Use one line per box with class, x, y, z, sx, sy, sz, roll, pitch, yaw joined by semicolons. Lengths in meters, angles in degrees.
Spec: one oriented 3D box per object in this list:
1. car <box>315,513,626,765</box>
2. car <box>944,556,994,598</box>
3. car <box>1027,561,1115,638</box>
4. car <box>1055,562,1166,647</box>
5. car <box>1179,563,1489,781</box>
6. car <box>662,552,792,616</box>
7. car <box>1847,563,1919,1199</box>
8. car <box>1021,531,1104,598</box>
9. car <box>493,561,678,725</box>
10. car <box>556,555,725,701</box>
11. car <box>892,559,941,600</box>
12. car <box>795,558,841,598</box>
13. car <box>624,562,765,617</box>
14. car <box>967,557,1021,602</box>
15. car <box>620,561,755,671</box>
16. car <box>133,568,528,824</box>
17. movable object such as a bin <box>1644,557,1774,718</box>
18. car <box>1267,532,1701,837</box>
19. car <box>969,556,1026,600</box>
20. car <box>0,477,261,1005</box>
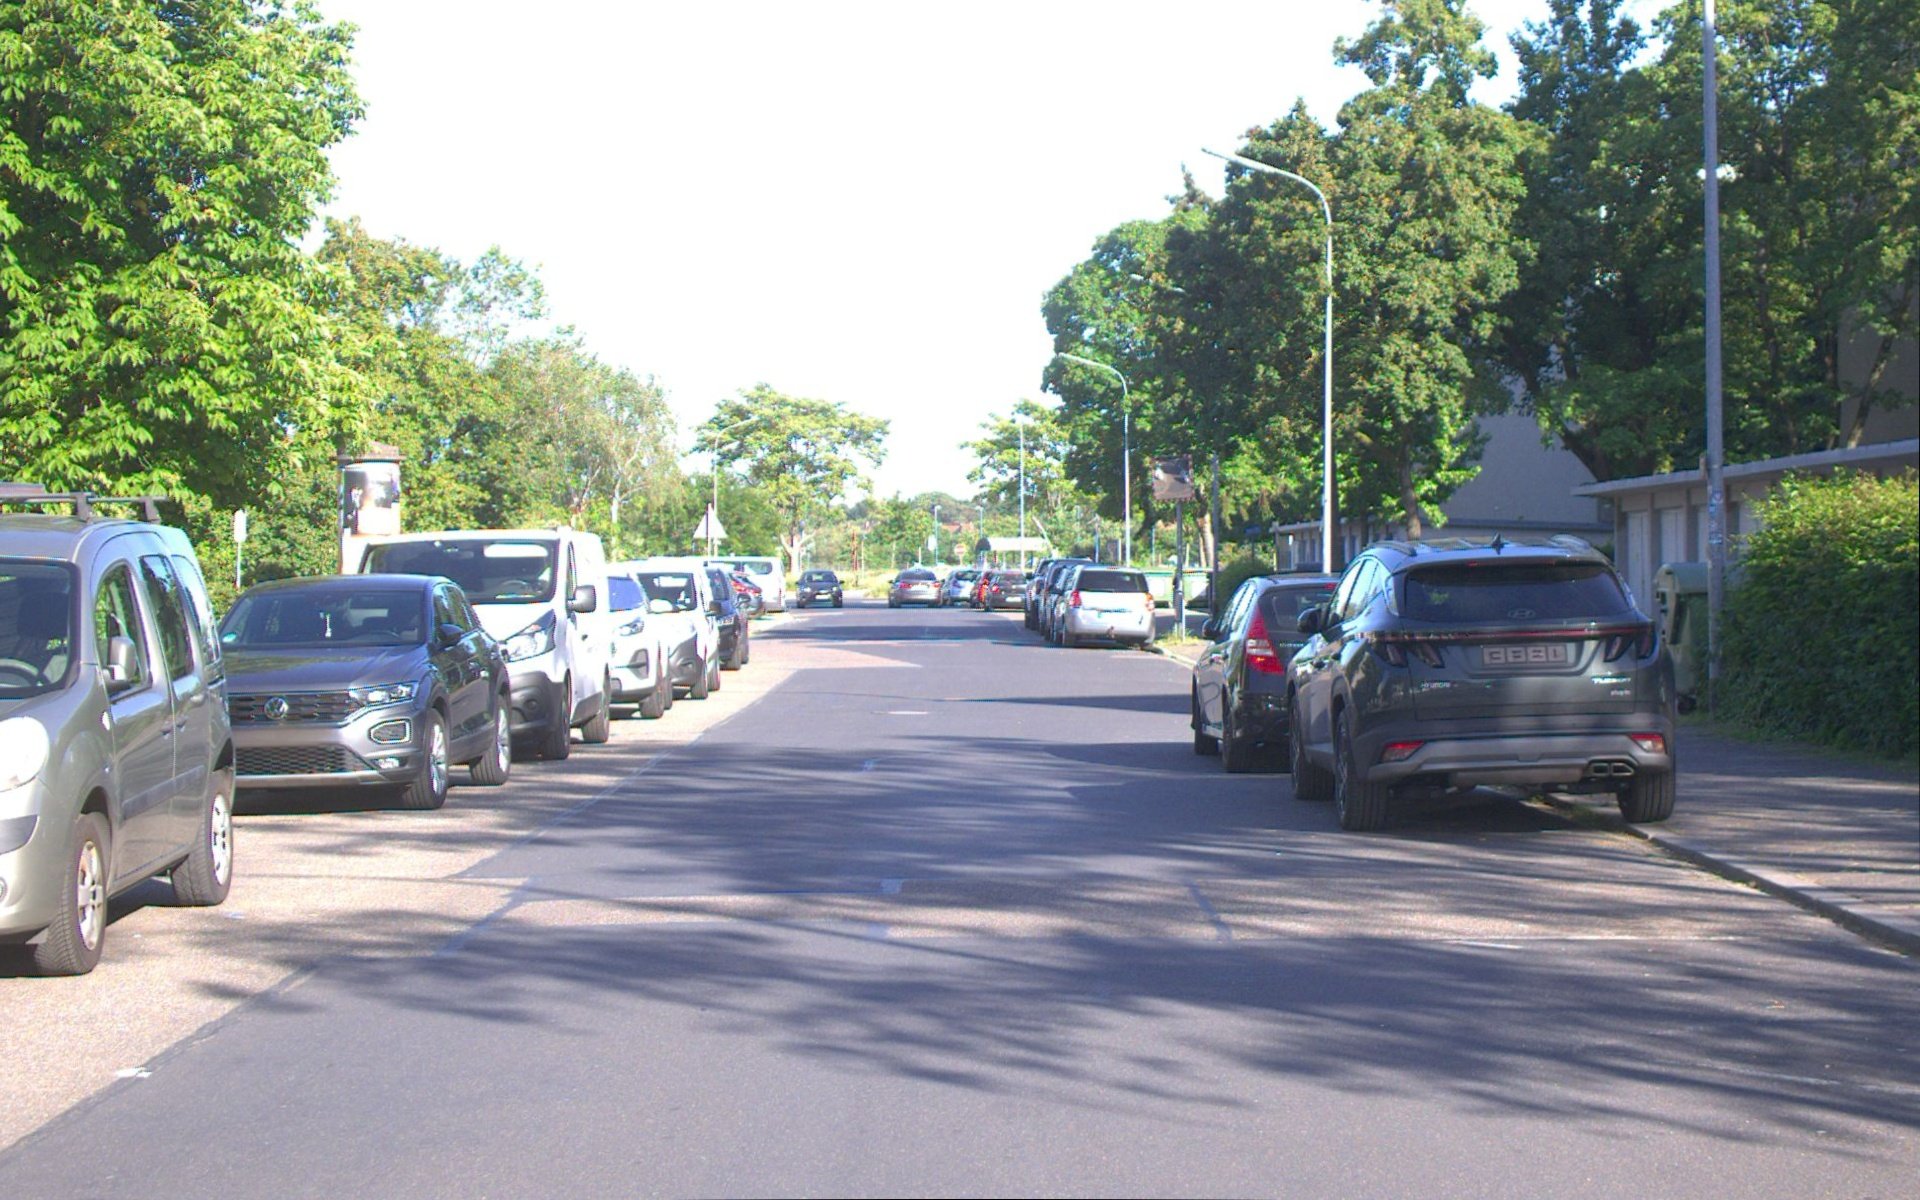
car;-4.120;0.275;29.753;1.915;1.956;5.088;-1;1;0
car;0.356;-0.936;139.422;1.795;1.638;3.952;1;1;-2
car;2.643;-0.040;82.582;1.795;1.780;3.952;1;1;-2
car;2.886;0.063;66.706;1.795;1.556;3.952;1;1;-2
car;2.804;0.489;26.686;1.908;1.525;4.328;1;1;0
car;-7.398;-0.518;109.105;4.053;1.985;1.802;1;1;-5
car;2.708;0.732;4.685;1.753;1.508;4.105;2;1;-3
car;2.582;-0.895;87.233;1.795;1.638;3.952;1;1;-2
car;-4.077;0.420;37.963;1.746;1.664;4.378;-1;1;-3
car;-4.003;0.310;43.641;1.746;1.726;4.005;-1;1;0
car;-1.684;-0.799;131.529;1.679;1.508;4.105;2;1;-3
car;-5.669;-0.899;137.120;1.795;1.556;3.952;1;1;-2
car;-7.754;-0.312;100.408;4.053;1.556;1.802;1;1;-5
car;1.257;-0.782;129.322;1.795;1.638;3.952;1;1;-2
car;-4.204;0.215;53.620;1.746;1.607;4.308;-1;1;0
car;-4.159;0.576;23.345;1.746;1.528;4.139;-1;1;2
movable object such as a bin;6.880;0.331;31.625;0.917;1.449;1.233;0;1;0
car;3.042;0.428;20.936;1.908;1.634;4.628;1;1;0
car;1.299;-0.795;122.103;1.795;1.543;3.952;1;1;-2
car;-4.282;0.497;14.494;1.854;1.886;4.418;-1;1;-2
